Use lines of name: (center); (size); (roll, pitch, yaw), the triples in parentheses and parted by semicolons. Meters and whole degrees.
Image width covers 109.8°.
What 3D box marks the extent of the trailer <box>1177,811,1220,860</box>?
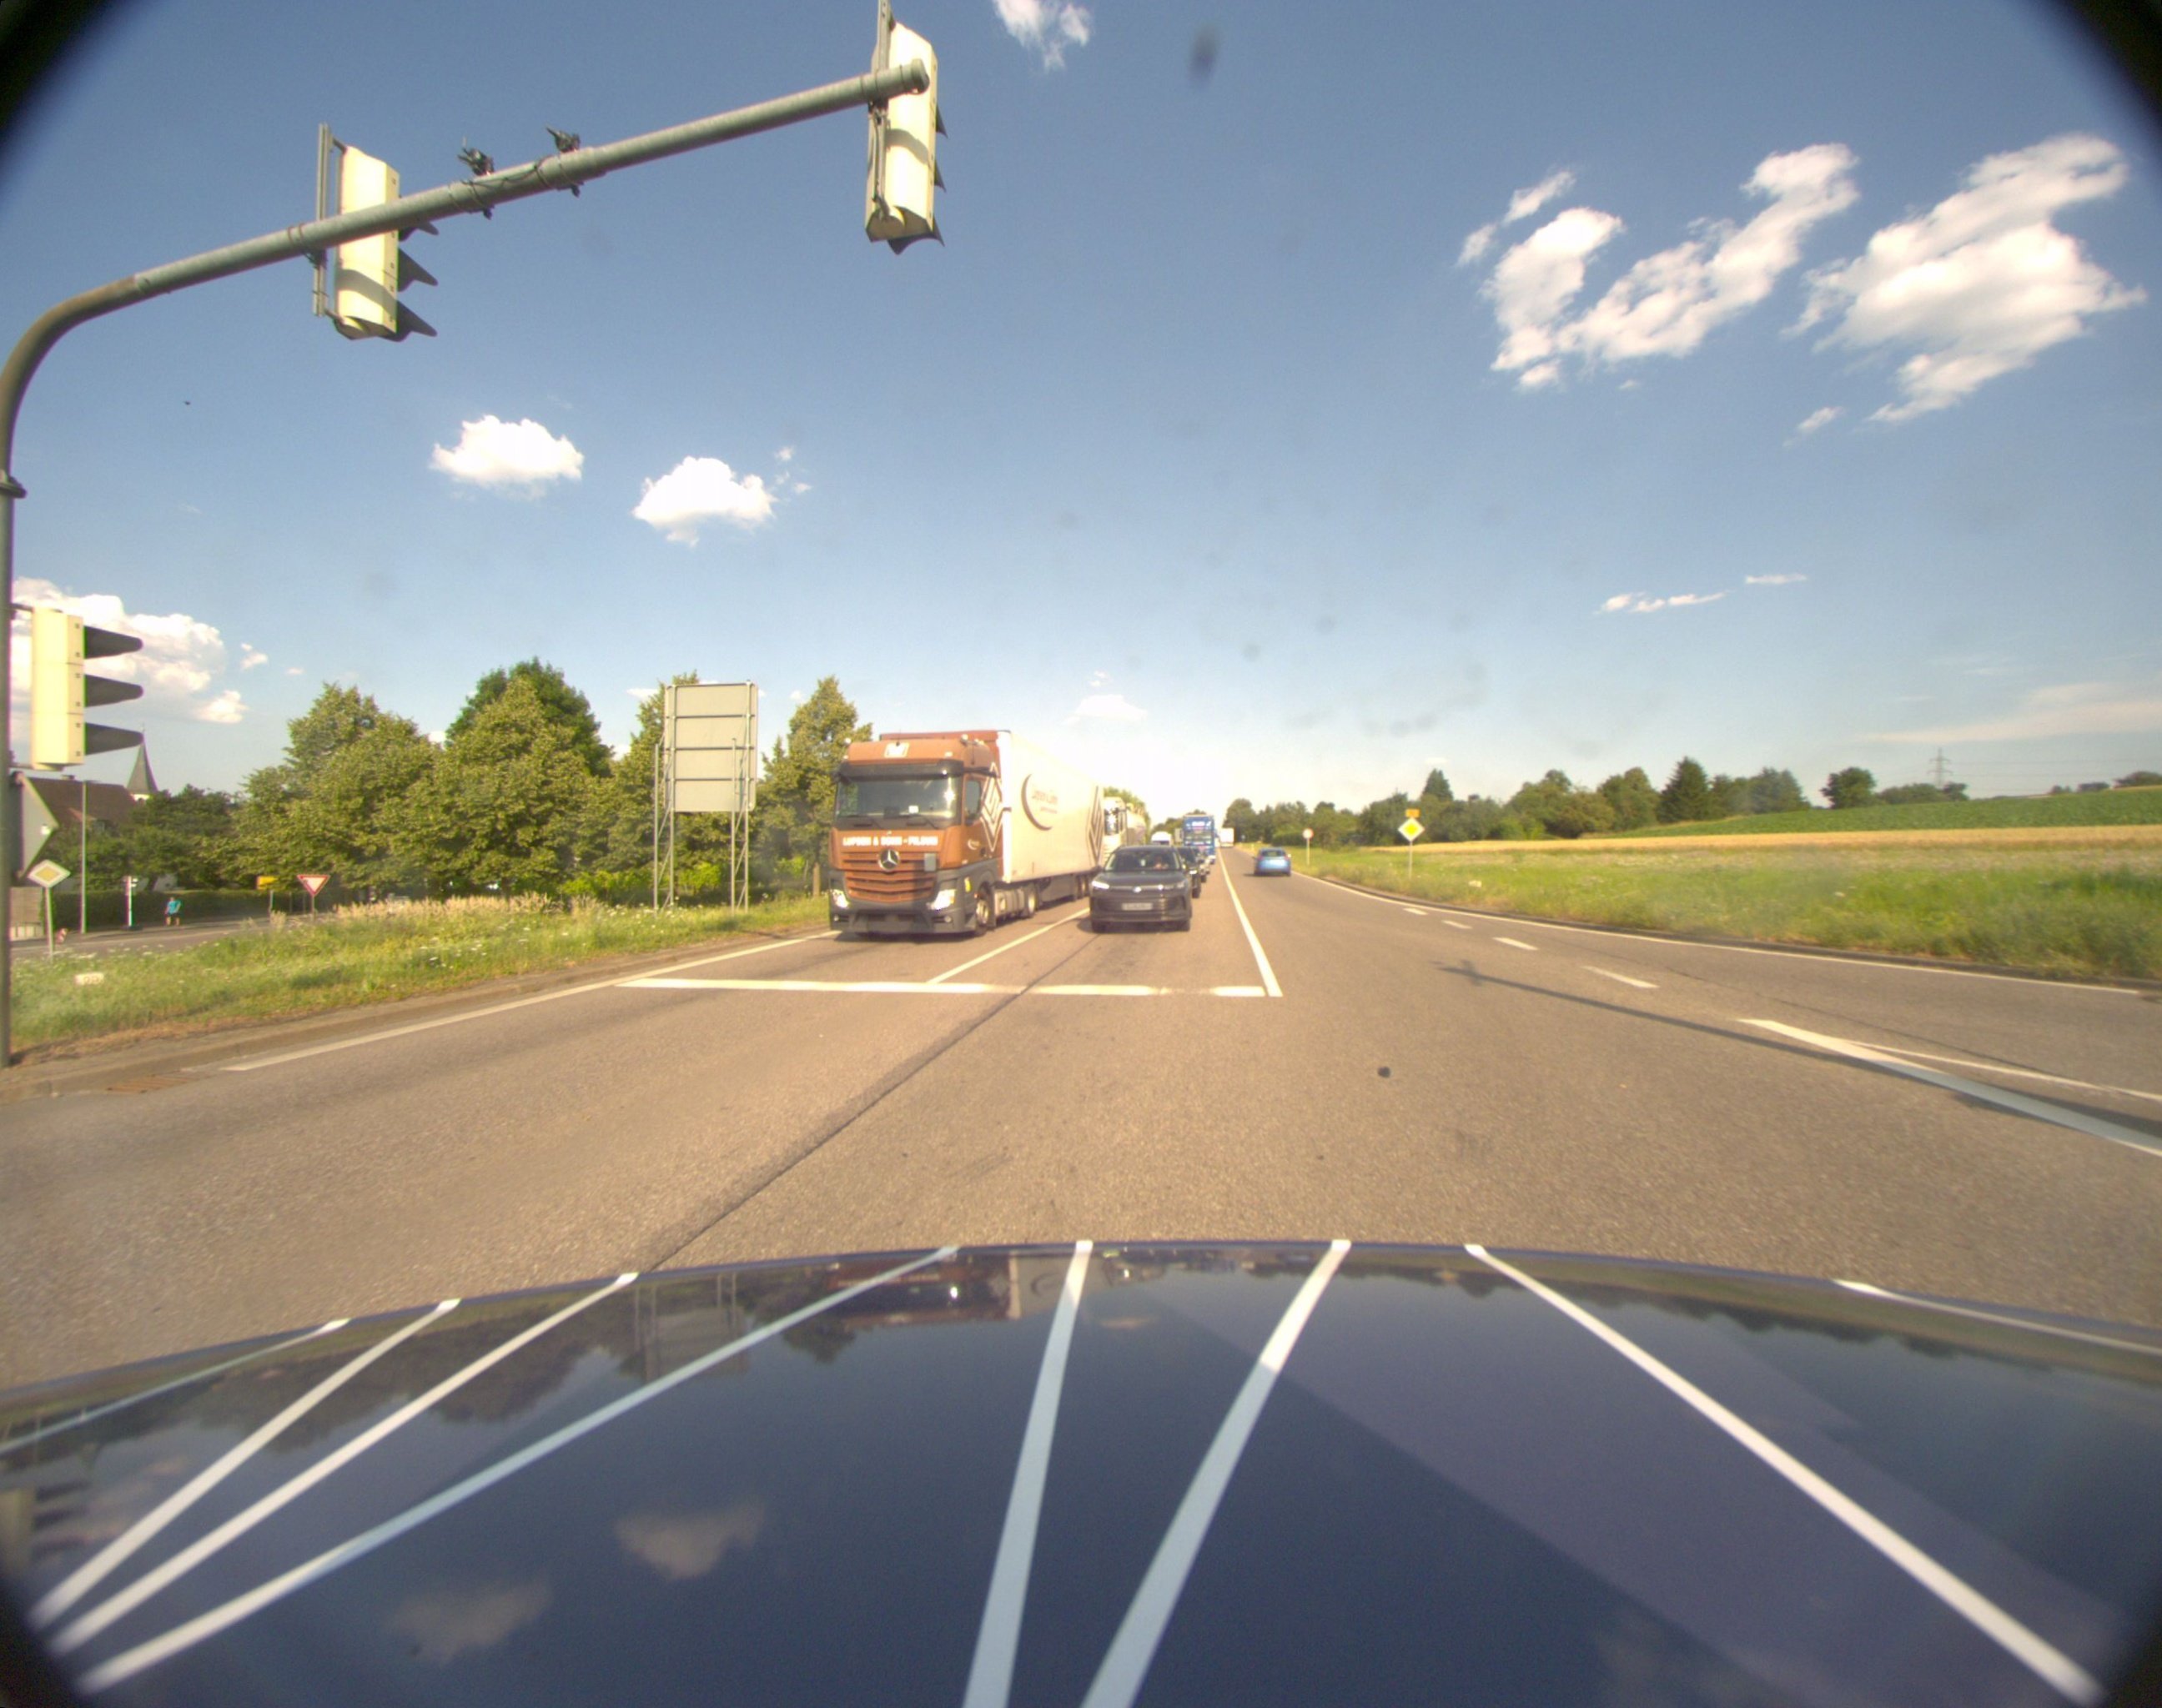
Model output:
trailer: (10.819, -1.663, 69.378); (3.414, 3.982, 13.757); (-2, 1, 10)

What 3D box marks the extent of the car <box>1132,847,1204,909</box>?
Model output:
car: (2.726, 0.637, 22.986); (1.773, 1.604, 4.550); (-2, 1, 11)

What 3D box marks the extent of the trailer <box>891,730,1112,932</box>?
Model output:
trailer: (-1.370, -0.534, 22.605); (2.536, 4.043, 14.345); (-2, 0, 10)

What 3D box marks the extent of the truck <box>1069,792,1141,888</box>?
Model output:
truck: (1.188, -0.596, 33.400); (2.259, 3.783, 5.689); (-2, 1, 10)

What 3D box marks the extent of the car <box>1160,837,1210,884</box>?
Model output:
car: (4.811, 0.241, 34.650); (1.905, 1.936, 4.375); (-2, 1, 11)

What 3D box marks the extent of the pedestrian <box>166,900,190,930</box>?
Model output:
pedestrian: (-53.770, 3.611, 45.239); (0.618, 1.719, 0.638); (-2, 2, -20)

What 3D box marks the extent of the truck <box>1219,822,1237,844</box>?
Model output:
truck: (31.228, -4.473, 161.858); (3.447, 4.471, 9.492); (-2, 1, 10)

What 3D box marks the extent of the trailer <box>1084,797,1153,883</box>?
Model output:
trailer: (2.128, -0.697, 38.881); (2.262, 3.755, 9.530); (-2, 1, 10)

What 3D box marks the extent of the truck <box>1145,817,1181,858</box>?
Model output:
truck: (8.474, -1.685, 77.166); (2.526, 3.752, 12.906); (-2, 1, 10)

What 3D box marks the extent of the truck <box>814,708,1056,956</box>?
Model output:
truck: (-2.550, -0.389, 15.846); (2.536, 4.020, 6.666); (-2, 1, 11)

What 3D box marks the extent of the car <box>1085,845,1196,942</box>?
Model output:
car: (1.375, 0.686, 15.522); (1.786, 1.620, 4.471); (-2, 1, 10)

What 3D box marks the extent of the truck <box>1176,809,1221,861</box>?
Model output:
truck: (9.698, -1.518, 62.530); (3.371, 3.982, 5.604); (-2, 1, 10)

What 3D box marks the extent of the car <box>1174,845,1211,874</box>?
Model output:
car: (6.462, 0.287, 43.885); (1.997, 1.477, 4.002); (-2, 1, 10)

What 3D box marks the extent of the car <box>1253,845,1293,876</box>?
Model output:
car: (9.809, 0.303, 38.976); (1.762, 1.492, 4.003); (0, 0, 11)
